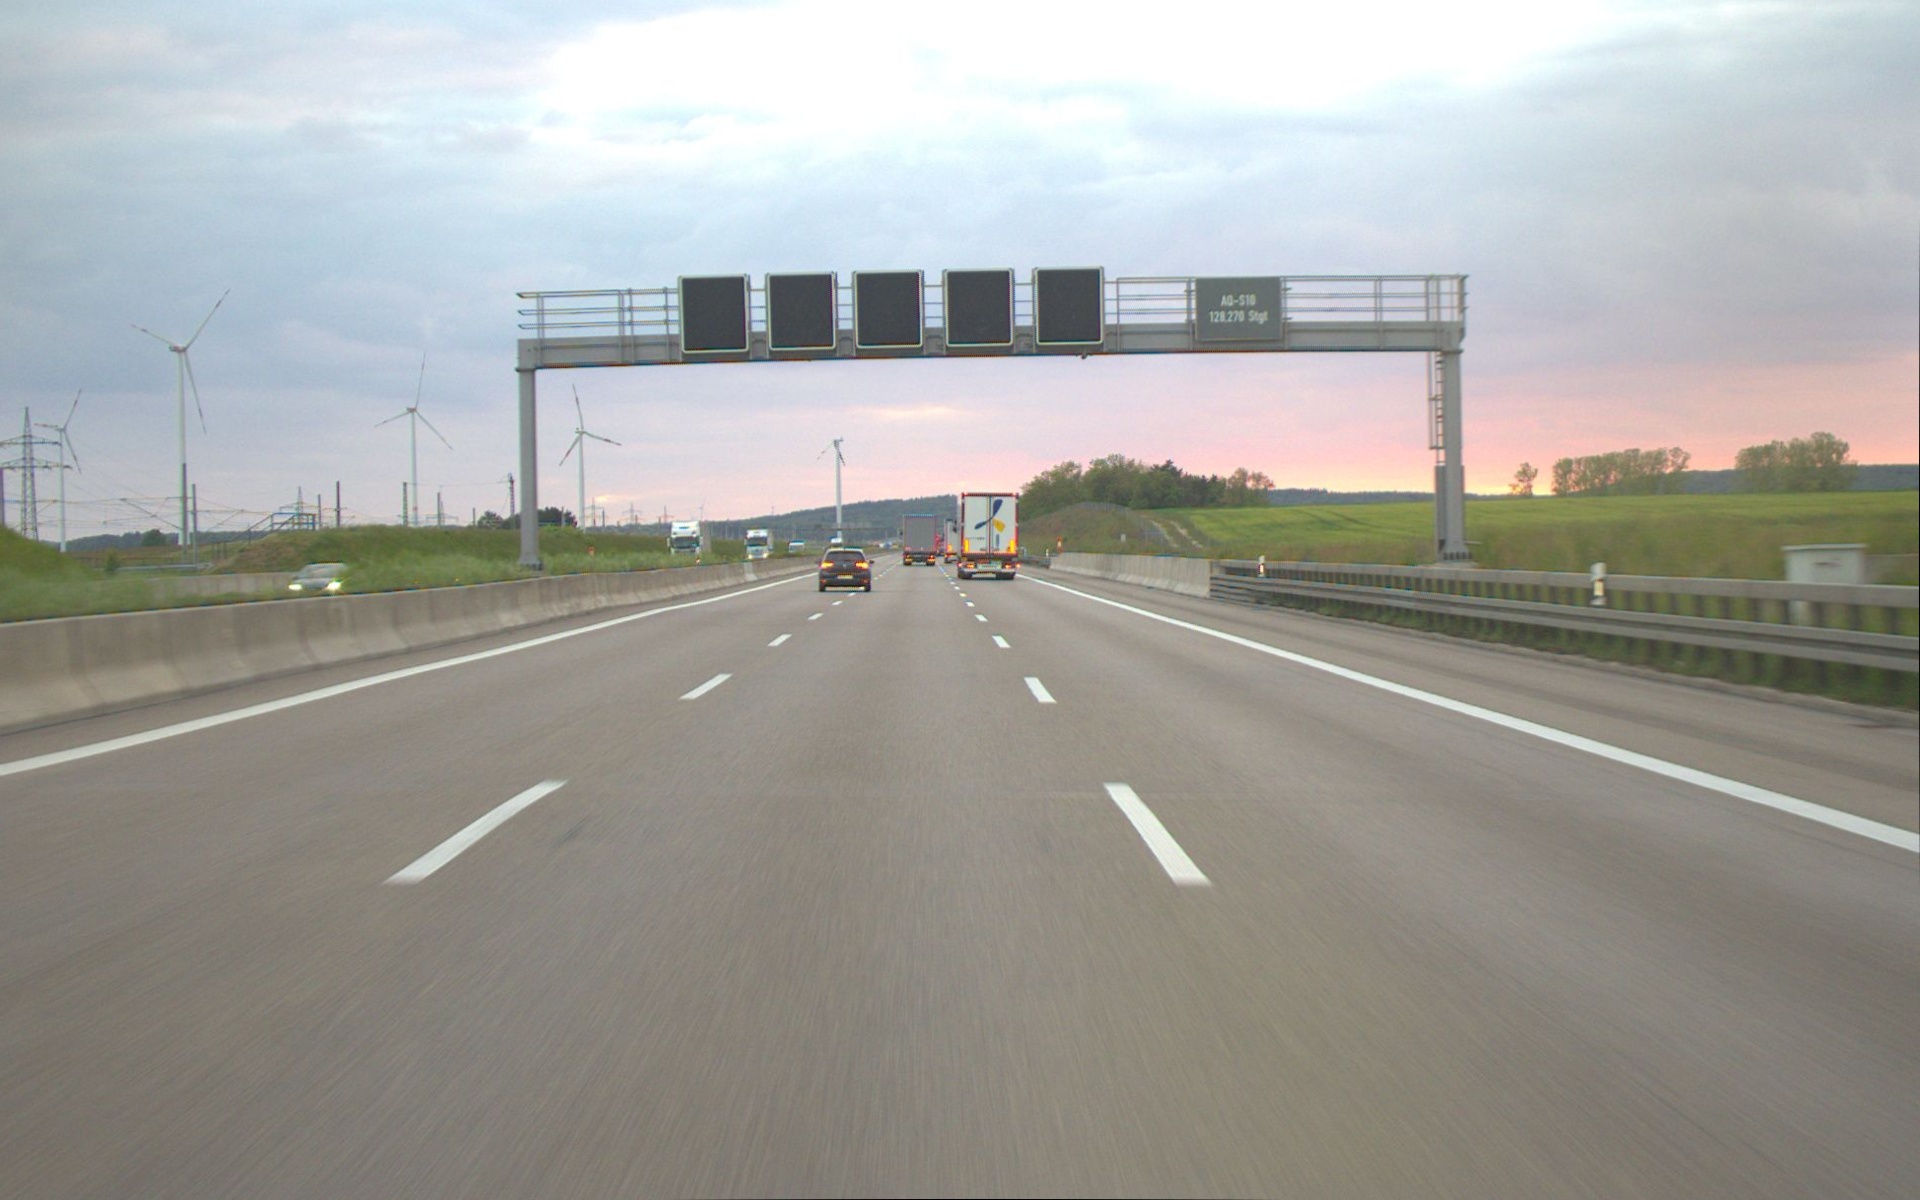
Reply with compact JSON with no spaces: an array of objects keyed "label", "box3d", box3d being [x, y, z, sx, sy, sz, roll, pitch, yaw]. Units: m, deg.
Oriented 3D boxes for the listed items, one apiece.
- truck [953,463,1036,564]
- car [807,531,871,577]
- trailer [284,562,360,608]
[{"label":"truck","box3d":[1.543,-4.040,161.741,3.675,4.549,10.982,0,1,-1]},{"label":"car","box3d":[-4.042,-1.555,115.261,1.987,1.425,4.000,-1,2,0]},{"label":"trailer","box3d":[-21.155,-0.512,114.126,1.717,1.459,4.000,-1,1,1]}]
